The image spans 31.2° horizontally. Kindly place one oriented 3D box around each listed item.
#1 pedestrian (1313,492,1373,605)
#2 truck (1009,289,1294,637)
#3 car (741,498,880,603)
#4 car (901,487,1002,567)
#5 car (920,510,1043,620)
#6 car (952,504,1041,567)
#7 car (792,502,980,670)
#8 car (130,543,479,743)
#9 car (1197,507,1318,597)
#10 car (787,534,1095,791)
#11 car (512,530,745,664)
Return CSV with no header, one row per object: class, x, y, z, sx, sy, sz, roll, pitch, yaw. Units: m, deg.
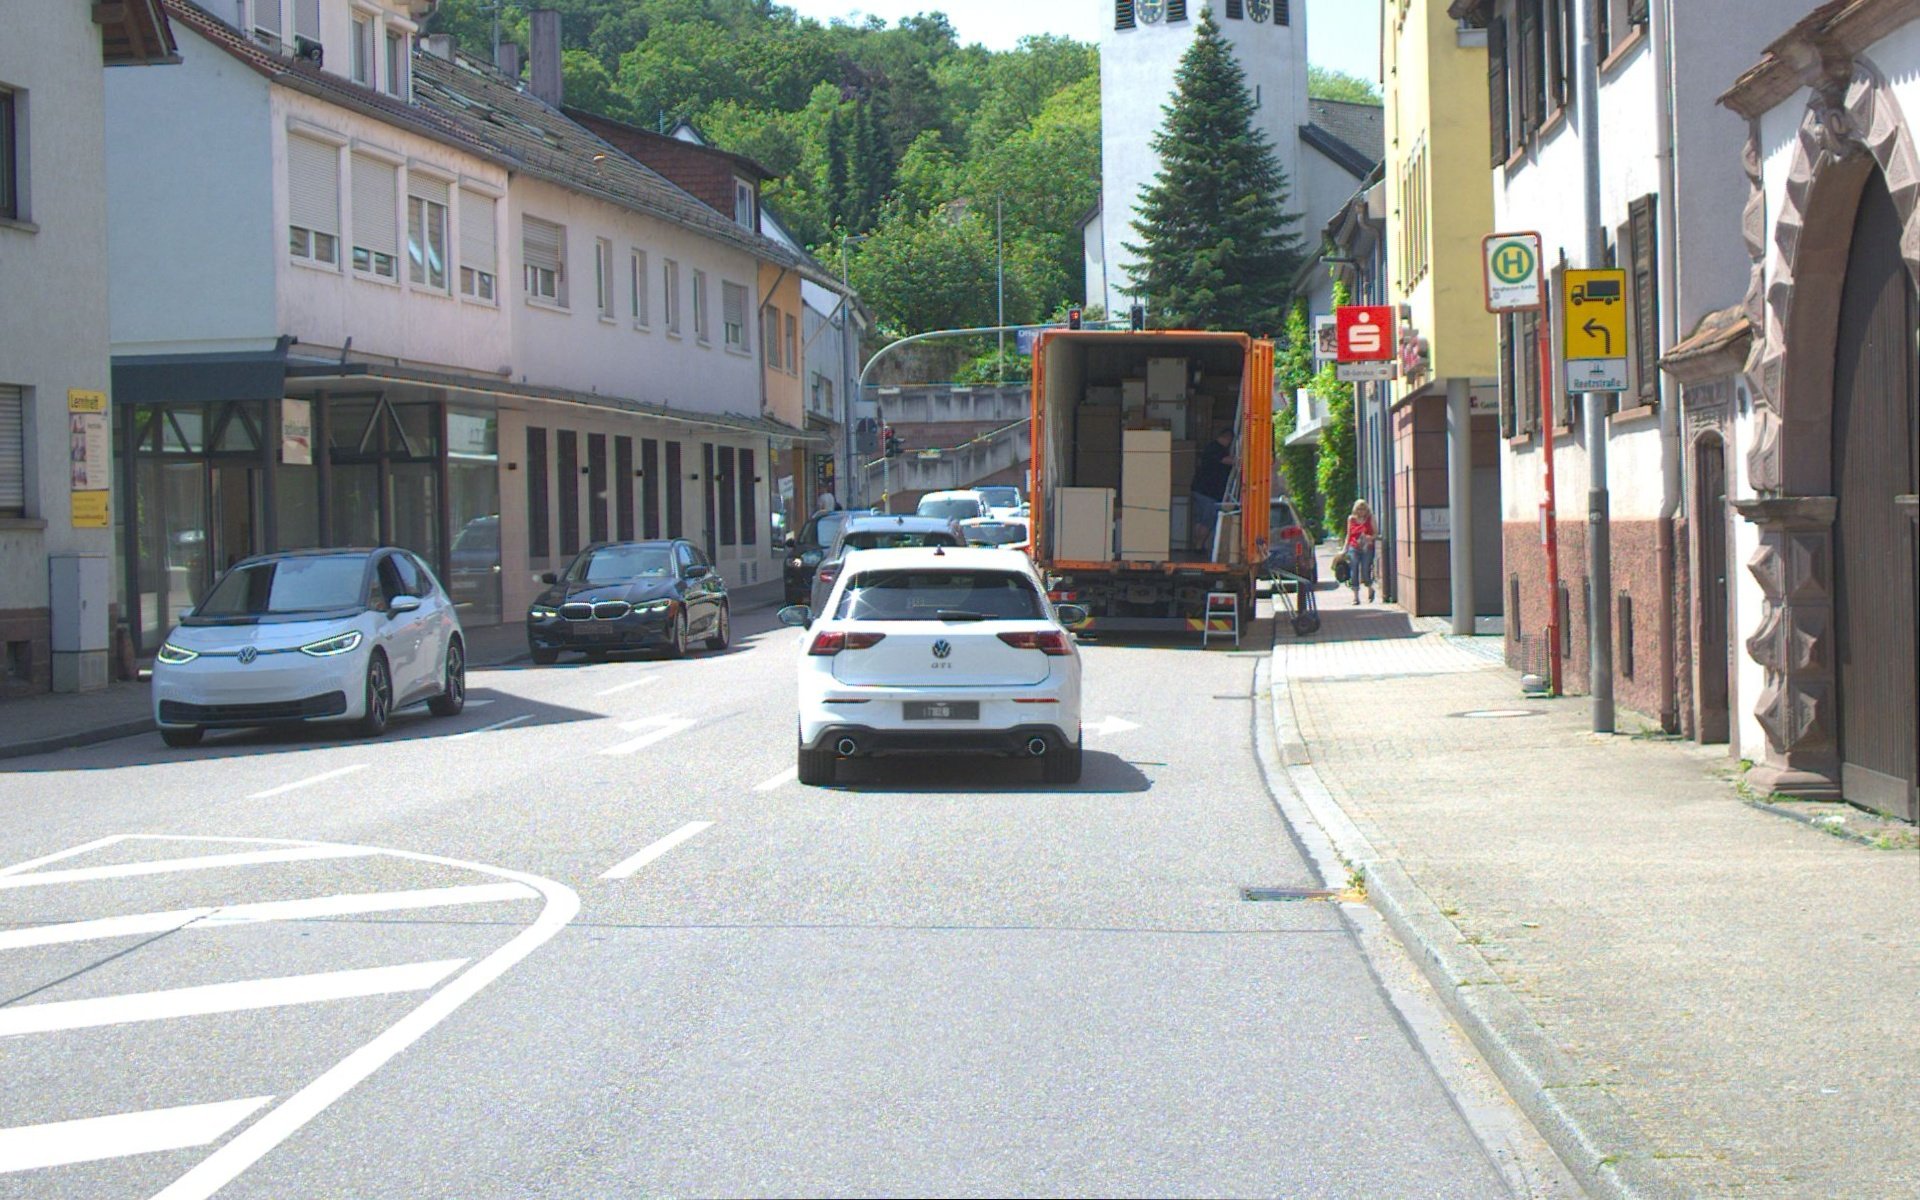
pedestrian,6.015,-0.802,53.982,0.769,1.736,0.871,-2,0,-1
truck,2.603,-1.737,47.179,3.367,4.155,9.518,-2,0,3
car,-2.625,-0.912,61.199,1.692,1.693,4.111,-2,2,8
car,-0.169,-1.755,81.229,1.802,1.773,4.704,-2,2,6
car,0.351,-0.551,54.596,1.815,1.623,4.000,-2,0,1
car,1.033,-1.782,95.354,1.994,1.645,3.999,-2,0,7
car,-0.731,-0.154,36.587,1.815,1.623,4.000,-2,0,1
car,-5.425,0.315,28.983,1.796,1.503,4.133,-2,0,5
car,5.348,-0.861,62.207,1.815,1.514,4.000,-2,0,1
car,-0.094,0.351,22.268,1.815,1.514,4.000,0,0,1
car,-3.989,-0.063,42.104,1.794,1.487,4.420,-2,0,8
